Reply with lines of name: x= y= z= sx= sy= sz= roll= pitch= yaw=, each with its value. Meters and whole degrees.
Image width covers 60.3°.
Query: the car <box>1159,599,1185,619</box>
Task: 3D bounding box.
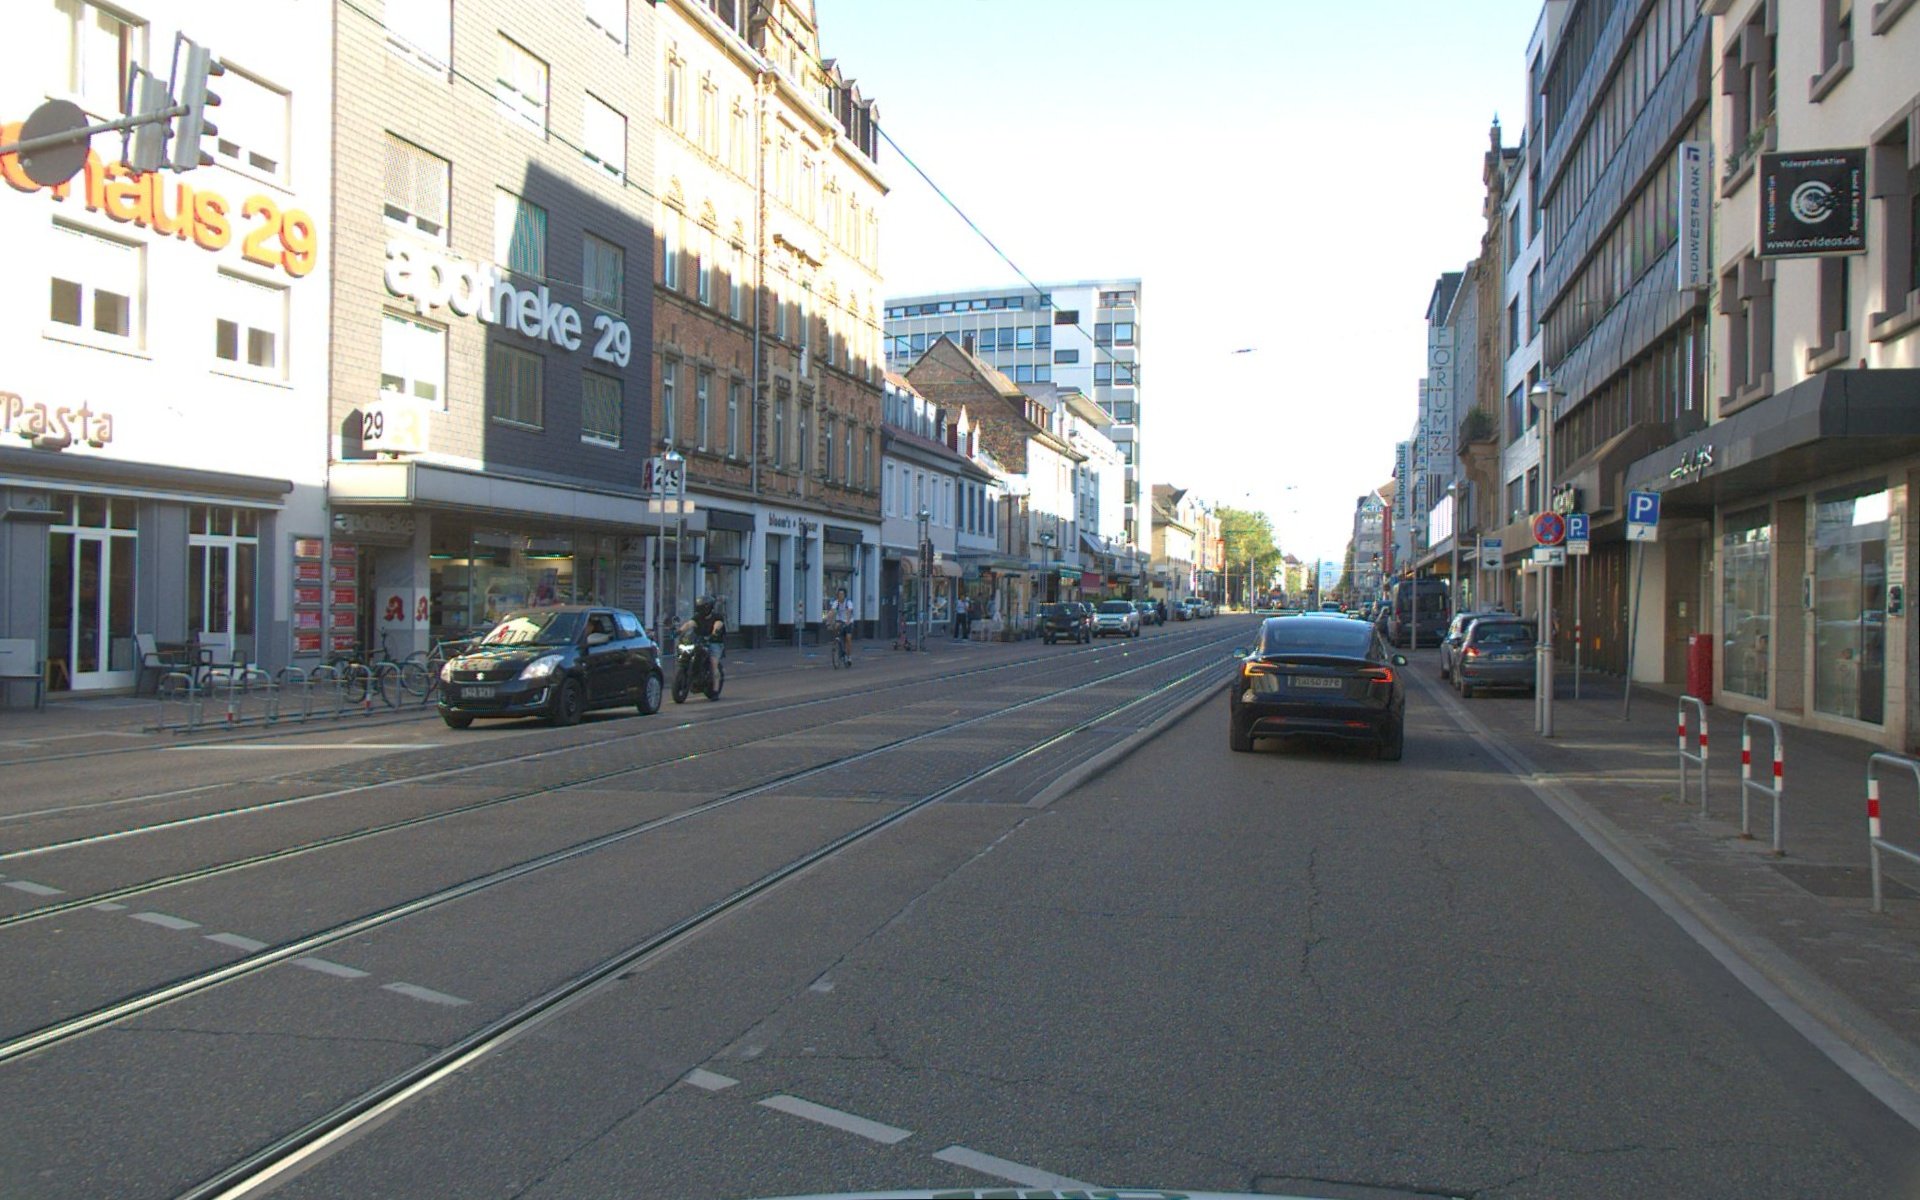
car: x=17.713 y=0.715 z=137.859 sx=1.681 sy=1.599 sz=3.852 roll=0 pitch=0 yaw=15

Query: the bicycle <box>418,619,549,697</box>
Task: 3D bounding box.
bicycle: x=-7.735 y=0.929 z=26.876 sx=1.893 sy=1.213 sz=0.774 roll=0 pitch=0 yaw=8

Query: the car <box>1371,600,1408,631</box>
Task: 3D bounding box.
car: x=21.812 y=0.752 z=84.025 sx=1.714 sy=1.526 sz=3.757 roll=0 pitch=0 yaw=13

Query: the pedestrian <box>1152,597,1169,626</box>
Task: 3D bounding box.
pedestrian: x=13.143 y=0.728 z=108.598 sx=0.760 sy=1.881 sz=0.823 roll=0 pitch=0 yaw=43

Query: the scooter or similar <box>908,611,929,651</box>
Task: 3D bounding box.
scooter or similar: x=-1.312 y=0.988 z=52.560 sx=0.356 sy=1.222 sz=1.478 roll=2 pitch=1 yaw=10

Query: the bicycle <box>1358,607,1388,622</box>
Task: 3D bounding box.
bicycle: x=30.307 y=1.077 z=121.313 sx=2.113 sy=1.116 sz=0.687 roll=0 pitch=0 yaw=11

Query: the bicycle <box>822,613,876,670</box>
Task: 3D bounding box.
bicycle: x=-2.645 y=0.980 z=39.608 sx=0.734 sy=1.316 sz=2.027 roll=0 pitch=0 yaw=13

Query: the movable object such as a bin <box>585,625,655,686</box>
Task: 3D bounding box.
movable object such as a bin: x=-6.497 y=1.054 z=31.606 sx=1.076 sy=1.090 sz=0.735 roll=2 pitch=0 yaw=13

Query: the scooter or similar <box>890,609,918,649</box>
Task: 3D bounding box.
scooter or similar: x=-1.775 y=0.900 z=52.664 sx=0.567 sy=1.222 sz=1.478 roll=2 pitch=0 yaw=10

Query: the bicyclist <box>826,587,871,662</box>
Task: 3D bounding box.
bicyclist: x=-2.663 y=0.574 z=39.509 sx=0.734 sy=1.759 sz=1.147 roll=0 pitch=0 yaw=14

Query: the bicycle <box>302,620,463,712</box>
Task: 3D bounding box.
bicycle: x=-8.396 y=0.945 z=24.093 sx=2.058 sy=1.245 sz=0.774 roll=2 pitch=0 yaw=8

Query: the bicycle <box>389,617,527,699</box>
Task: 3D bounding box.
bicycle: x=-7.901 y=0.908 z=26.083 sx=1.893 sy=1.193 sz=0.774 roll=2 pitch=0 yaw=8

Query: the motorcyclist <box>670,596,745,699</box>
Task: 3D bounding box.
motorcyclist: x=-3.987 y=0.740 z=26.147 sx=0.786 sy=1.585 sz=1.147 roll=-1 pitch=-1 yaw=14

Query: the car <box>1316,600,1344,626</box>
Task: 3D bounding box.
car: x=29.004 y=1.020 z=129.594 sx=2.040 sy=1.903 sz=3.757 roll=1 pitch=0 yaw=13

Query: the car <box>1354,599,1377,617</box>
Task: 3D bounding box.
car: x=36.622 y=0.731 z=149.461 sx=1.951 sy=1.570 sz=4.003 roll=1 pitch=-1 yaw=13

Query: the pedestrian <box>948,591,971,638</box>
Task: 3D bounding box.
pedestrian: x=-0.017 y=0.552 z=64.042 sx=0.601 sy=1.806 sz=0.718 roll=1 pitch=0 yaw=26

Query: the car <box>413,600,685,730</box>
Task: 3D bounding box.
car: x=-5.195 y=0.772 z=21.499 sx=1.677 sy=1.471 sz=4.142 roll=-2 pitch=0 yaw=13

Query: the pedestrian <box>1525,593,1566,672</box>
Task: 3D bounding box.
pedestrian: x=13.477 y=0.739 z=38.087 sx=0.763 sy=1.782 sz=1.033 roll=0 pitch=0 yaw=14

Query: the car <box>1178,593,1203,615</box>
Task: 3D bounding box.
car: x=21.827 y=0.382 z=156.765 sx=1.966 sy=1.995 sz=4.728 roll=0 pitch=0 yaw=13

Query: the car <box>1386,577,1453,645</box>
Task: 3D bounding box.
car: x=17.723 y=0.405 z=63.978 sx=2.125 sy=2.504 sz=5.366 roll=-1 pitch=0 yaw=12

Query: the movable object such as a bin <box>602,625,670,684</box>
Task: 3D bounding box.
movable object such as a bin: x=-6.324 y=1.056 z=32.312 sx=1.076 sy=1.082 sz=0.699 roll=2 pitch=0 yaw=13

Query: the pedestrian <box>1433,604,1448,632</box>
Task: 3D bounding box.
pedestrian: x=25.216 y=0.937 z=86.800 sx=0.719 sy=1.427 sz=0.984 roll=0 pitch=0 yaw=13

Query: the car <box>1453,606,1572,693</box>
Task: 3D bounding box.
car: x=10.249 y=0.870 z=30.932 sx=1.808 sy=1.488 sz=4.305 roll=-1 pitch=0 yaw=14

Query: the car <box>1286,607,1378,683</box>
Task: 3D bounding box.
car: x=7.671 y=0.896 z=34.193 sx=1.724 sy=1.443 sz=4.358 roll=1 pitch=-1 yaw=12

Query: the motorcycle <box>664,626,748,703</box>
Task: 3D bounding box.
motorcycle: x=-3.991 y=0.999 z=26.120 sx=0.557 sy=1.139 sz=2.119 roll=0 pitch=0 yaw=13

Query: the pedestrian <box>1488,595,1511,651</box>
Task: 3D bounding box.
pedestrian: x=17.013 y=0.727 z=52.191 sx=0.544 sy=1.744 sz=0.955 roll=-1 pitch=-1 yaw=12

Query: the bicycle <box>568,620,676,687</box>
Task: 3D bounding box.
bicycle: x=-6.315 y=0.990 z=30.956 sx=1.893 sy=1.211 sz=0.552 roll=0 pitch=0 yaw=9

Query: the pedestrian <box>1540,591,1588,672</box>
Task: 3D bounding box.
pedestrian: x=14.301 y=0.741 z=39.198 sx=0.903 sy=1.875 sz=1.000 roll=-1 pitch=-1 yaw=14

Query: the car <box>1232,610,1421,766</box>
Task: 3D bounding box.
car: x=4.157 y=0.888 z=18.690 sx=1.830 sy=1.452 sz=4.368 roll=1 pitch=1 yaw=13

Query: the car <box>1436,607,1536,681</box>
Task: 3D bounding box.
car: x=11.361 y=0.908 z=35.955 sx=1.708 sy=1.488 sz=4.299 roll=0 pitch=0 yaw=13

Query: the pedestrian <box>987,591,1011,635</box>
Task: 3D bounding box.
pedestrian: x=1.617 y=0.546 z=68.943 sx=0.867 sy=1.806 sz=0.688 roll=1 pitch=0 yaw=11

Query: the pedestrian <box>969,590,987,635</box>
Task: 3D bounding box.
pedestrian: x=0.735 y=0.521 z=68.583 sx=0.642 sy=1.855 sz=0.643 roll=1 pitch=0 yaw=7

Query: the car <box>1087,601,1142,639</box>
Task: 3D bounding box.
car: x=6.886 y=0.852 z=73.356 sx=1.849 sy=1.622 sz=4.266 roll=-1 pitch=0 yaw=13

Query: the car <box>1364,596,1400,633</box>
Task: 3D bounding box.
car: x=22.977 y=0.773 z=90.062 sx=1.782 sy=1.903 sz=3.757 roll=1 pitch=0 yaw=13

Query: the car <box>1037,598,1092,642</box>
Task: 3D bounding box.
car: x=3.947 y=0.722 z=62.111 sx=1.613 sy=1.593 sz=2.832 roll=0 pitch=0 yaw=13
